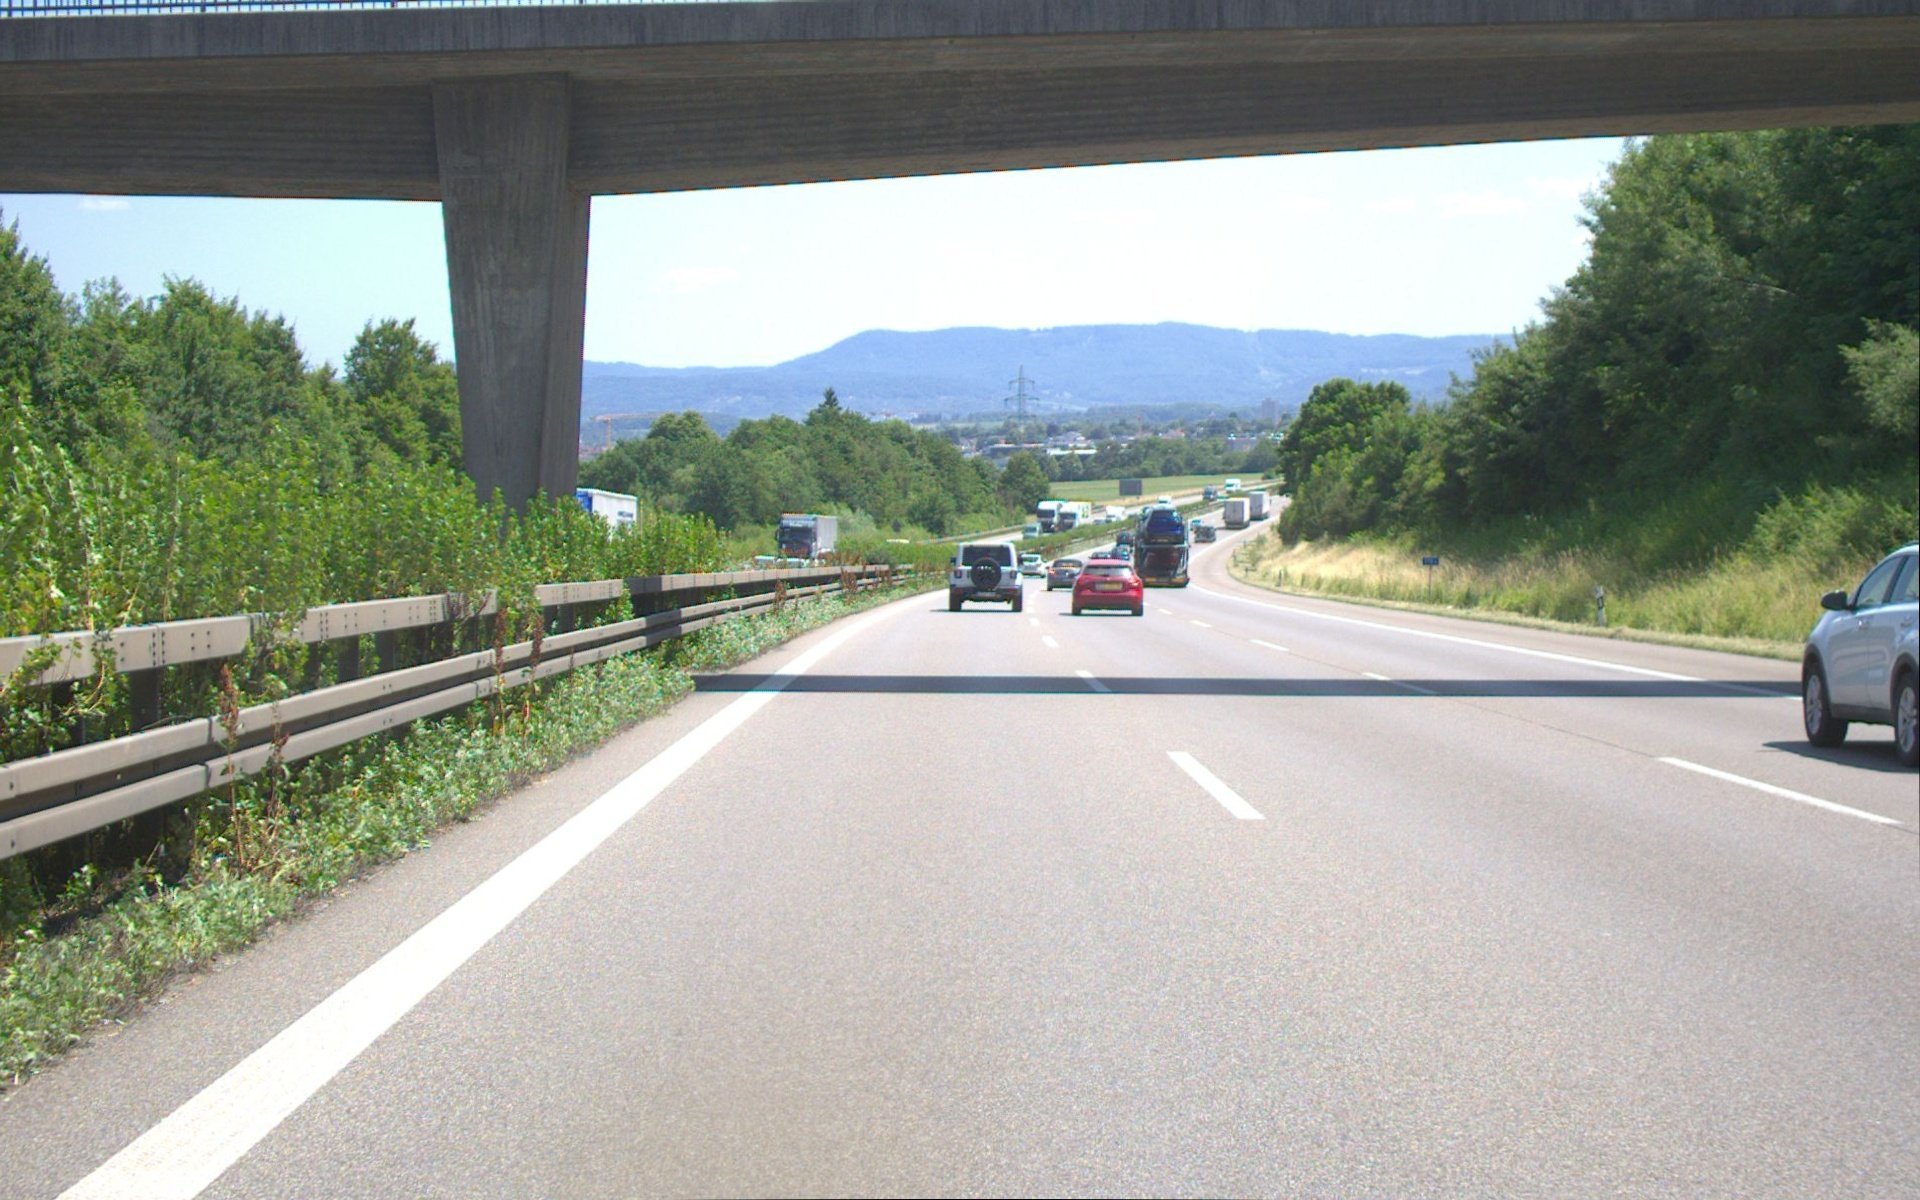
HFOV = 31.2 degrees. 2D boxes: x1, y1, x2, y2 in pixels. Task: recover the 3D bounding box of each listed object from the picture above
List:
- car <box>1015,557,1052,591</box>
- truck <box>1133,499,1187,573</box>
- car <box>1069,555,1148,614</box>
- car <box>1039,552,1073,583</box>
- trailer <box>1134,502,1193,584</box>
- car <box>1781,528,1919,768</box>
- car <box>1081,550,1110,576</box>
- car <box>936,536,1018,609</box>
[{"bbox_3d":[4.521,-1.616,211.770,1.698,2.006,3.821,1,2,10],"label":"car"},{"bbox_3d":[10.770,-3.486,185.423,2.754,3.839,6.644,1,2,2],"label":"truck"},{"bbox_3d":[3.760,-0.410,87.592,1.686,1.374,3.949,1,2,-2],"label":"car"},{"bbox_3d":[4.241,-1.450,151.733,1.452,1.263,3.539,1,2,1],"label":"car"},{"bbox_3d":[10.463,-3.038,177.801,2.855,3.979,15.396,1,2,3],"label":"trailer"},{"bbox_3d":[7.653,0.319,25.920,1.781,1.645,4.404,1,2,-1],"label":"car"},{"bbox_3d":[9.689,-2.653,245.643,1.636,1.699,3.400,1,2,10],"label":"car"},{"bbox_3d":[0.427,-0.759,91.902,2.083,1.823,4.754,1,2,-1],"label":"car"}]
